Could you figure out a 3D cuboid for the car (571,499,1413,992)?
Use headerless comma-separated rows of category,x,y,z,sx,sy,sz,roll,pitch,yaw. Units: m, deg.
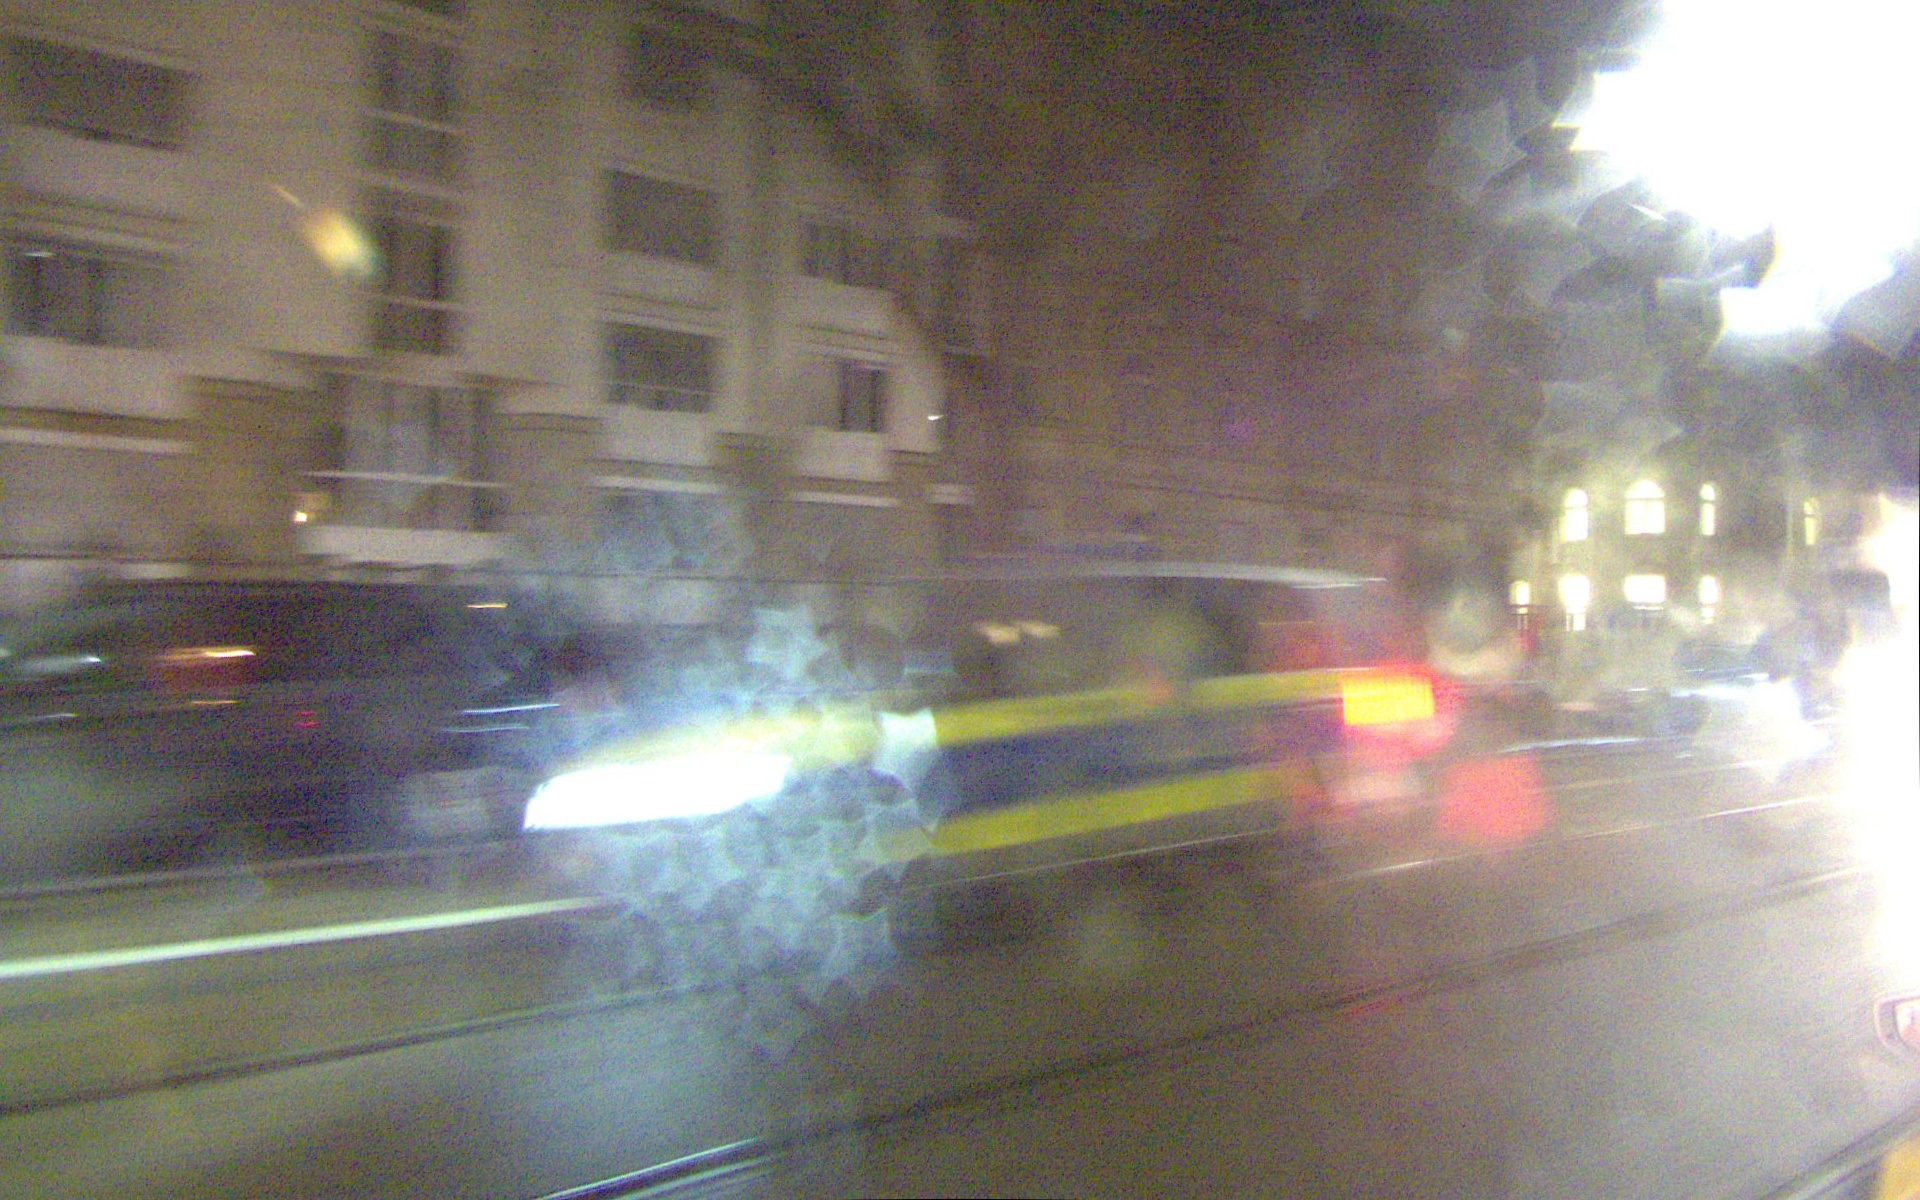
car,0.294,0.629,5.854,4.580,1.904,1.918,1,-2,-29

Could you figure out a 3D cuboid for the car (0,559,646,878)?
car,-5.181,0.682,7.283,5.246,1.850,1.984,1,2,-30

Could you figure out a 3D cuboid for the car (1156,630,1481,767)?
car,4.684,1.170,12.984,4.094,1.425,1.756,2,1,-31
